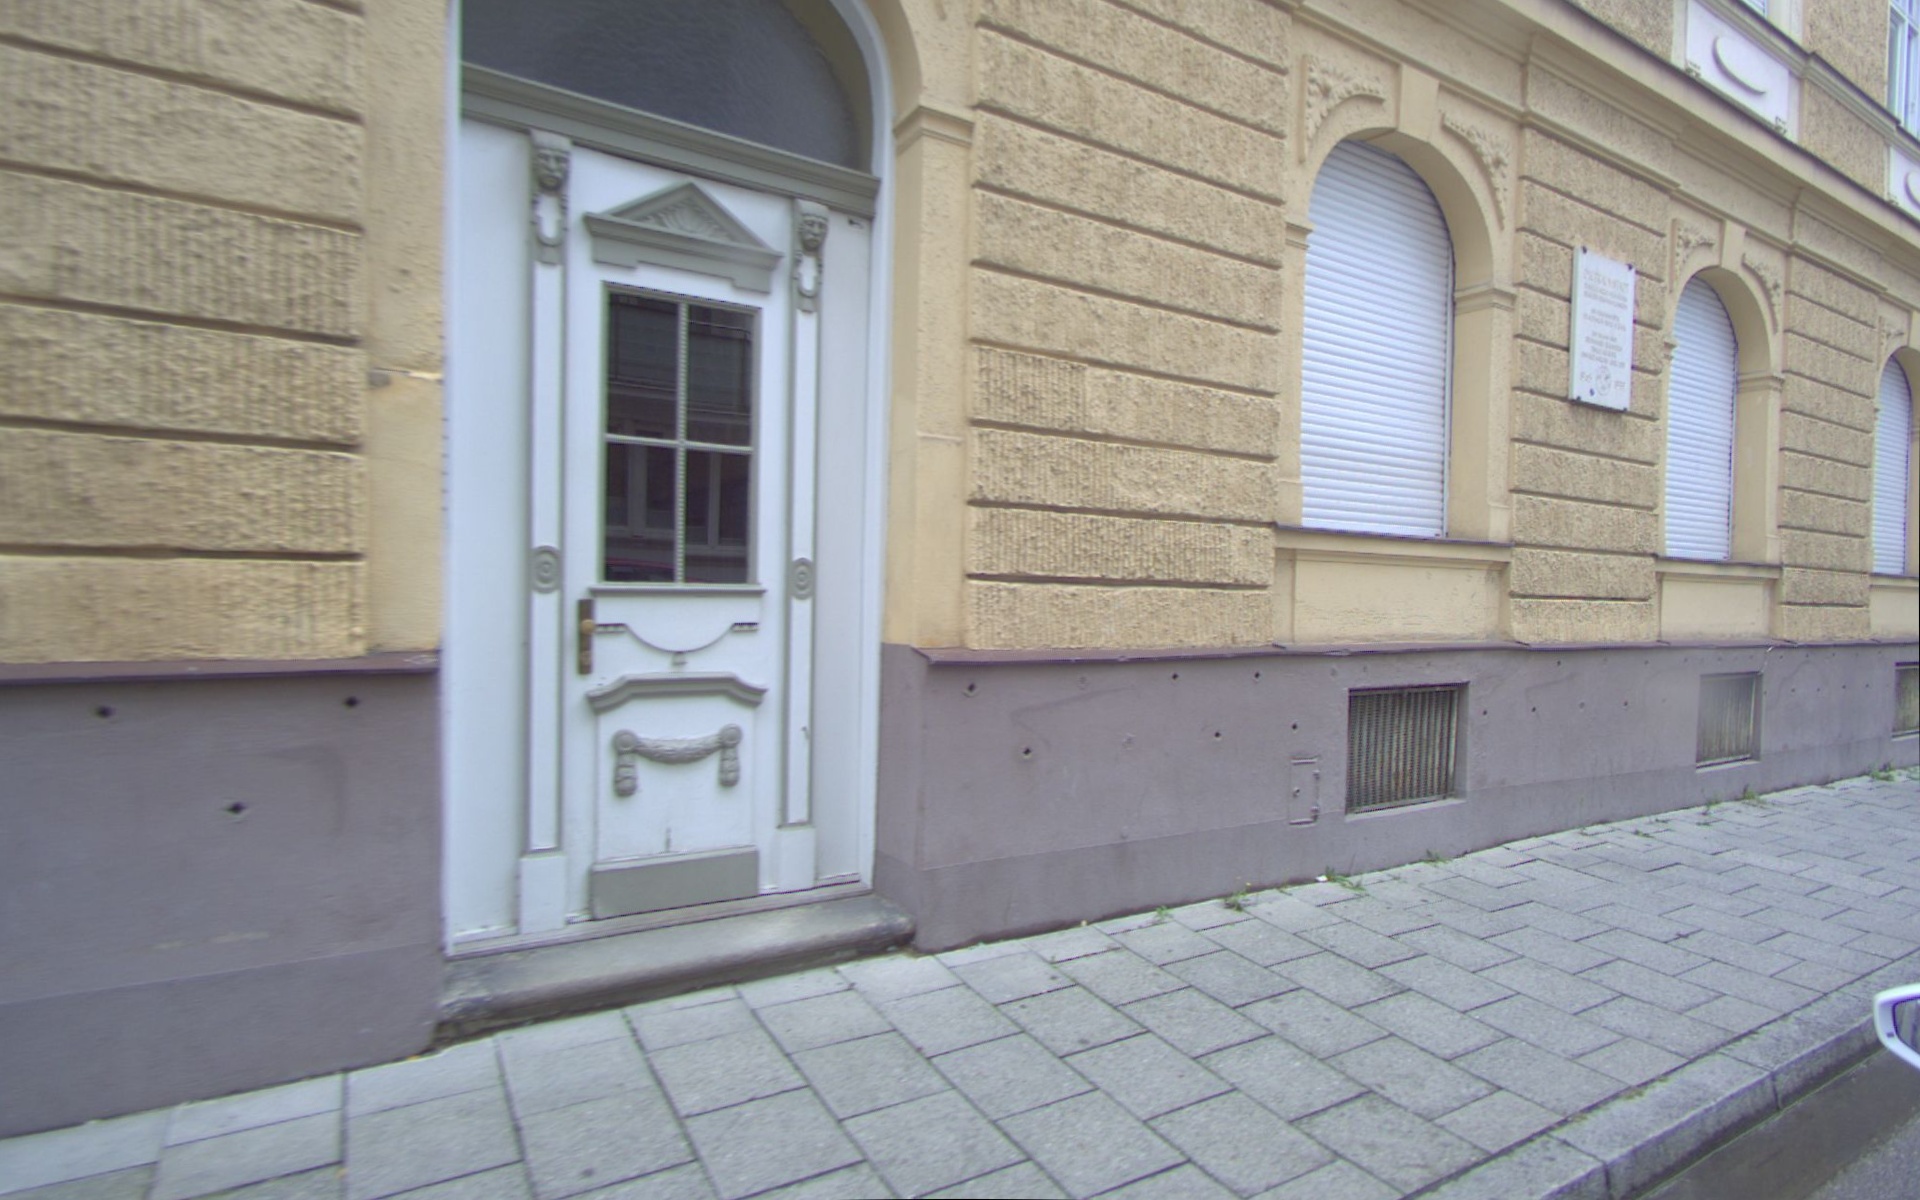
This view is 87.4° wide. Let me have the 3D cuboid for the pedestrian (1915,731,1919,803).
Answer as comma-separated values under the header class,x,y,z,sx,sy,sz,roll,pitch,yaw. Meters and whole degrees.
class,x,y,z,sx,sy,sz,roll,pitch,yaw
pedestrian,7.511,0.531,7.114,1.065,1.879,0.753,1,2,-32
